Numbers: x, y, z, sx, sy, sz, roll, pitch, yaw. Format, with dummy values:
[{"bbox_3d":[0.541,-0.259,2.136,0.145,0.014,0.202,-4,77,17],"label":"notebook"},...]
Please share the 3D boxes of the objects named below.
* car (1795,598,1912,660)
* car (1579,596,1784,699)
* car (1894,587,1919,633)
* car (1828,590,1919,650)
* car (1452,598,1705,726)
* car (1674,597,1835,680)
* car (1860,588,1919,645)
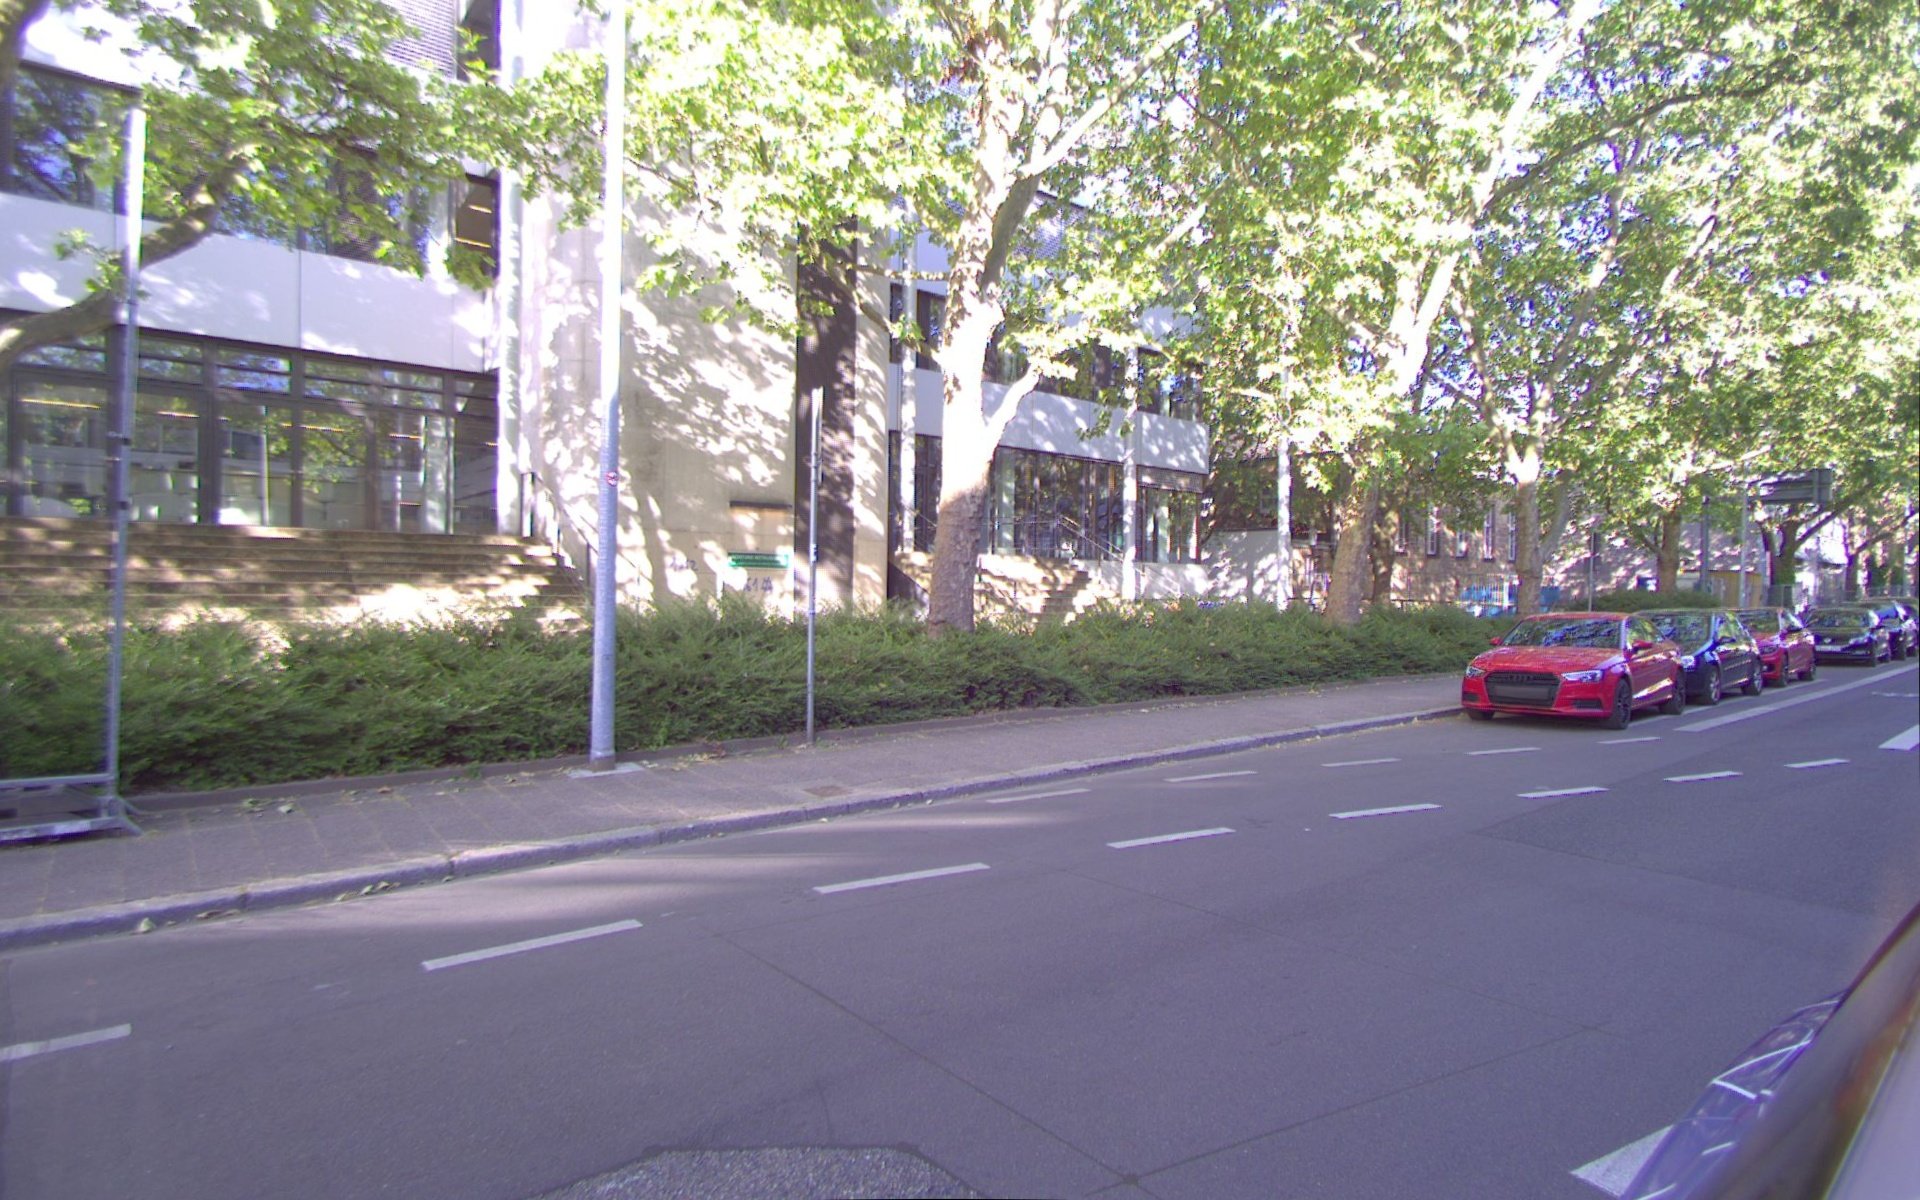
[{"bbox_3d":[22.976,0.684,25.995,3.930,1.456,1.744,0,1,-41],"label":"car"},{"bbox_3d":[11.909,0.682,16.627,3.929,1.475,1.812,0,1,-40],"label":"car"},{"bbox_3d":[35.733,0.366,37.074,4.004,1.638,1.797,0,1,-41],"label":"car"},{"bbox_3d":[26.640,0.528,29.192,4.158,1.601,1.847,0,1,-41],"label":"car"},{"bbox_3d":[8.322,0.701,13.473,4.101,1.443,1.773,0,-1,-42],"label":"car"},{"bbox_3d":[15.731,0.683,19.987,3.930,1.456,1.789,0,1,-41],"label":"car"},{"bbox_3d":[31.075,0.485,33.053,4.188,1.747,1.997,-1,0,-41],"label":"car"}]
